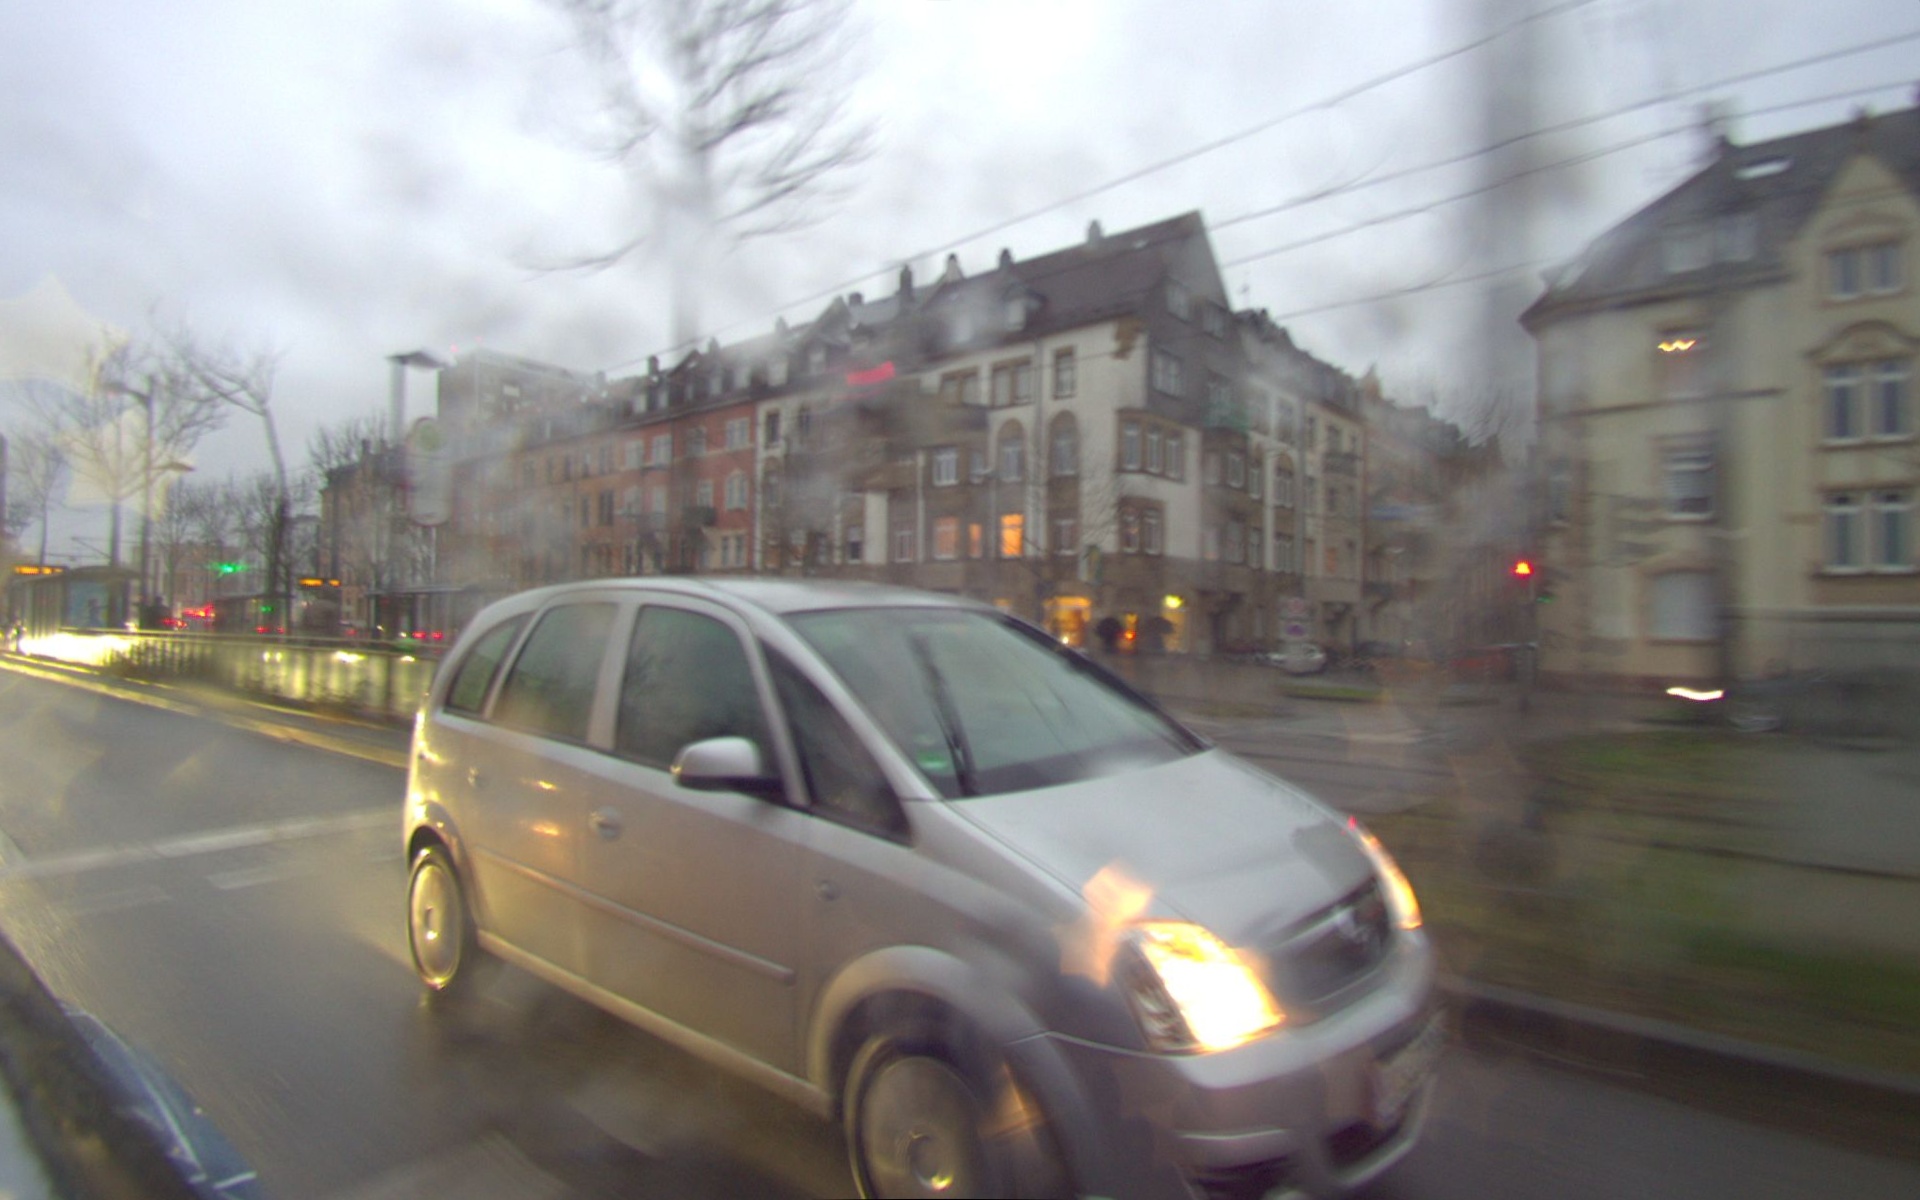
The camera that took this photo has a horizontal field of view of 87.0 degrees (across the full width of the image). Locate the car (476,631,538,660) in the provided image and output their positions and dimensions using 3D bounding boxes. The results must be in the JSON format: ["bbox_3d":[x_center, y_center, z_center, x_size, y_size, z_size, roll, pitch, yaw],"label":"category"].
[{"bbox_3d":[-23.211,2.317,51.863,3.258,1.418,1.660,-1,-4,41],"label":"car"}]

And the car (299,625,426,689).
[{"bbox_3d":[-15.535,1.439,26.246,3.998,1.497,1.646,-1,-3,41],"label":"car"}]

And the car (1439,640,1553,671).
[{"bbox_3d":[23.010,2.372,43.590,1.838,1.221,4.013,2,-3,-25],"label":"car"}]

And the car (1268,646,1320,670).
[{"bbox_3d":[15.580,2.704,47.196,1.330,1.083,2.860,-1,-3,40],"label":"car"}]

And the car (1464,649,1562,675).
[{"bbox_3d":[27.906,3.114,51.179,1.838,1.221,4.013,2,-3,-25],"label":"car"}]

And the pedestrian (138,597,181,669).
[{"bbox_3d":[-23.292,0.964,29.453,0.864,2.029,0.932,4,-4,-38],"label":"pedestrian"}]

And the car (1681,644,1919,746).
[{"bbox_3d":[14.490,1.483,16.167,4.697,1.464,1.845,-1,-3,41],"label":"car"}]

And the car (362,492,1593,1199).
[{"bbox_3d":[-0.316,0.677,3.507,4.050,1.612,1.791,-1,-1,40],"label":"car"}]

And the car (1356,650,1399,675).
[{"bbox_3d":[22.865,3.434,55.388,1.330,1.298,2.860,-1,-3,40],"label":"car"}]

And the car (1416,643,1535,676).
[{"bbox_3d":[20.788,2.397,40.980,1.838,1.221,4.013,2,-3,-25],"label":"car"}]
